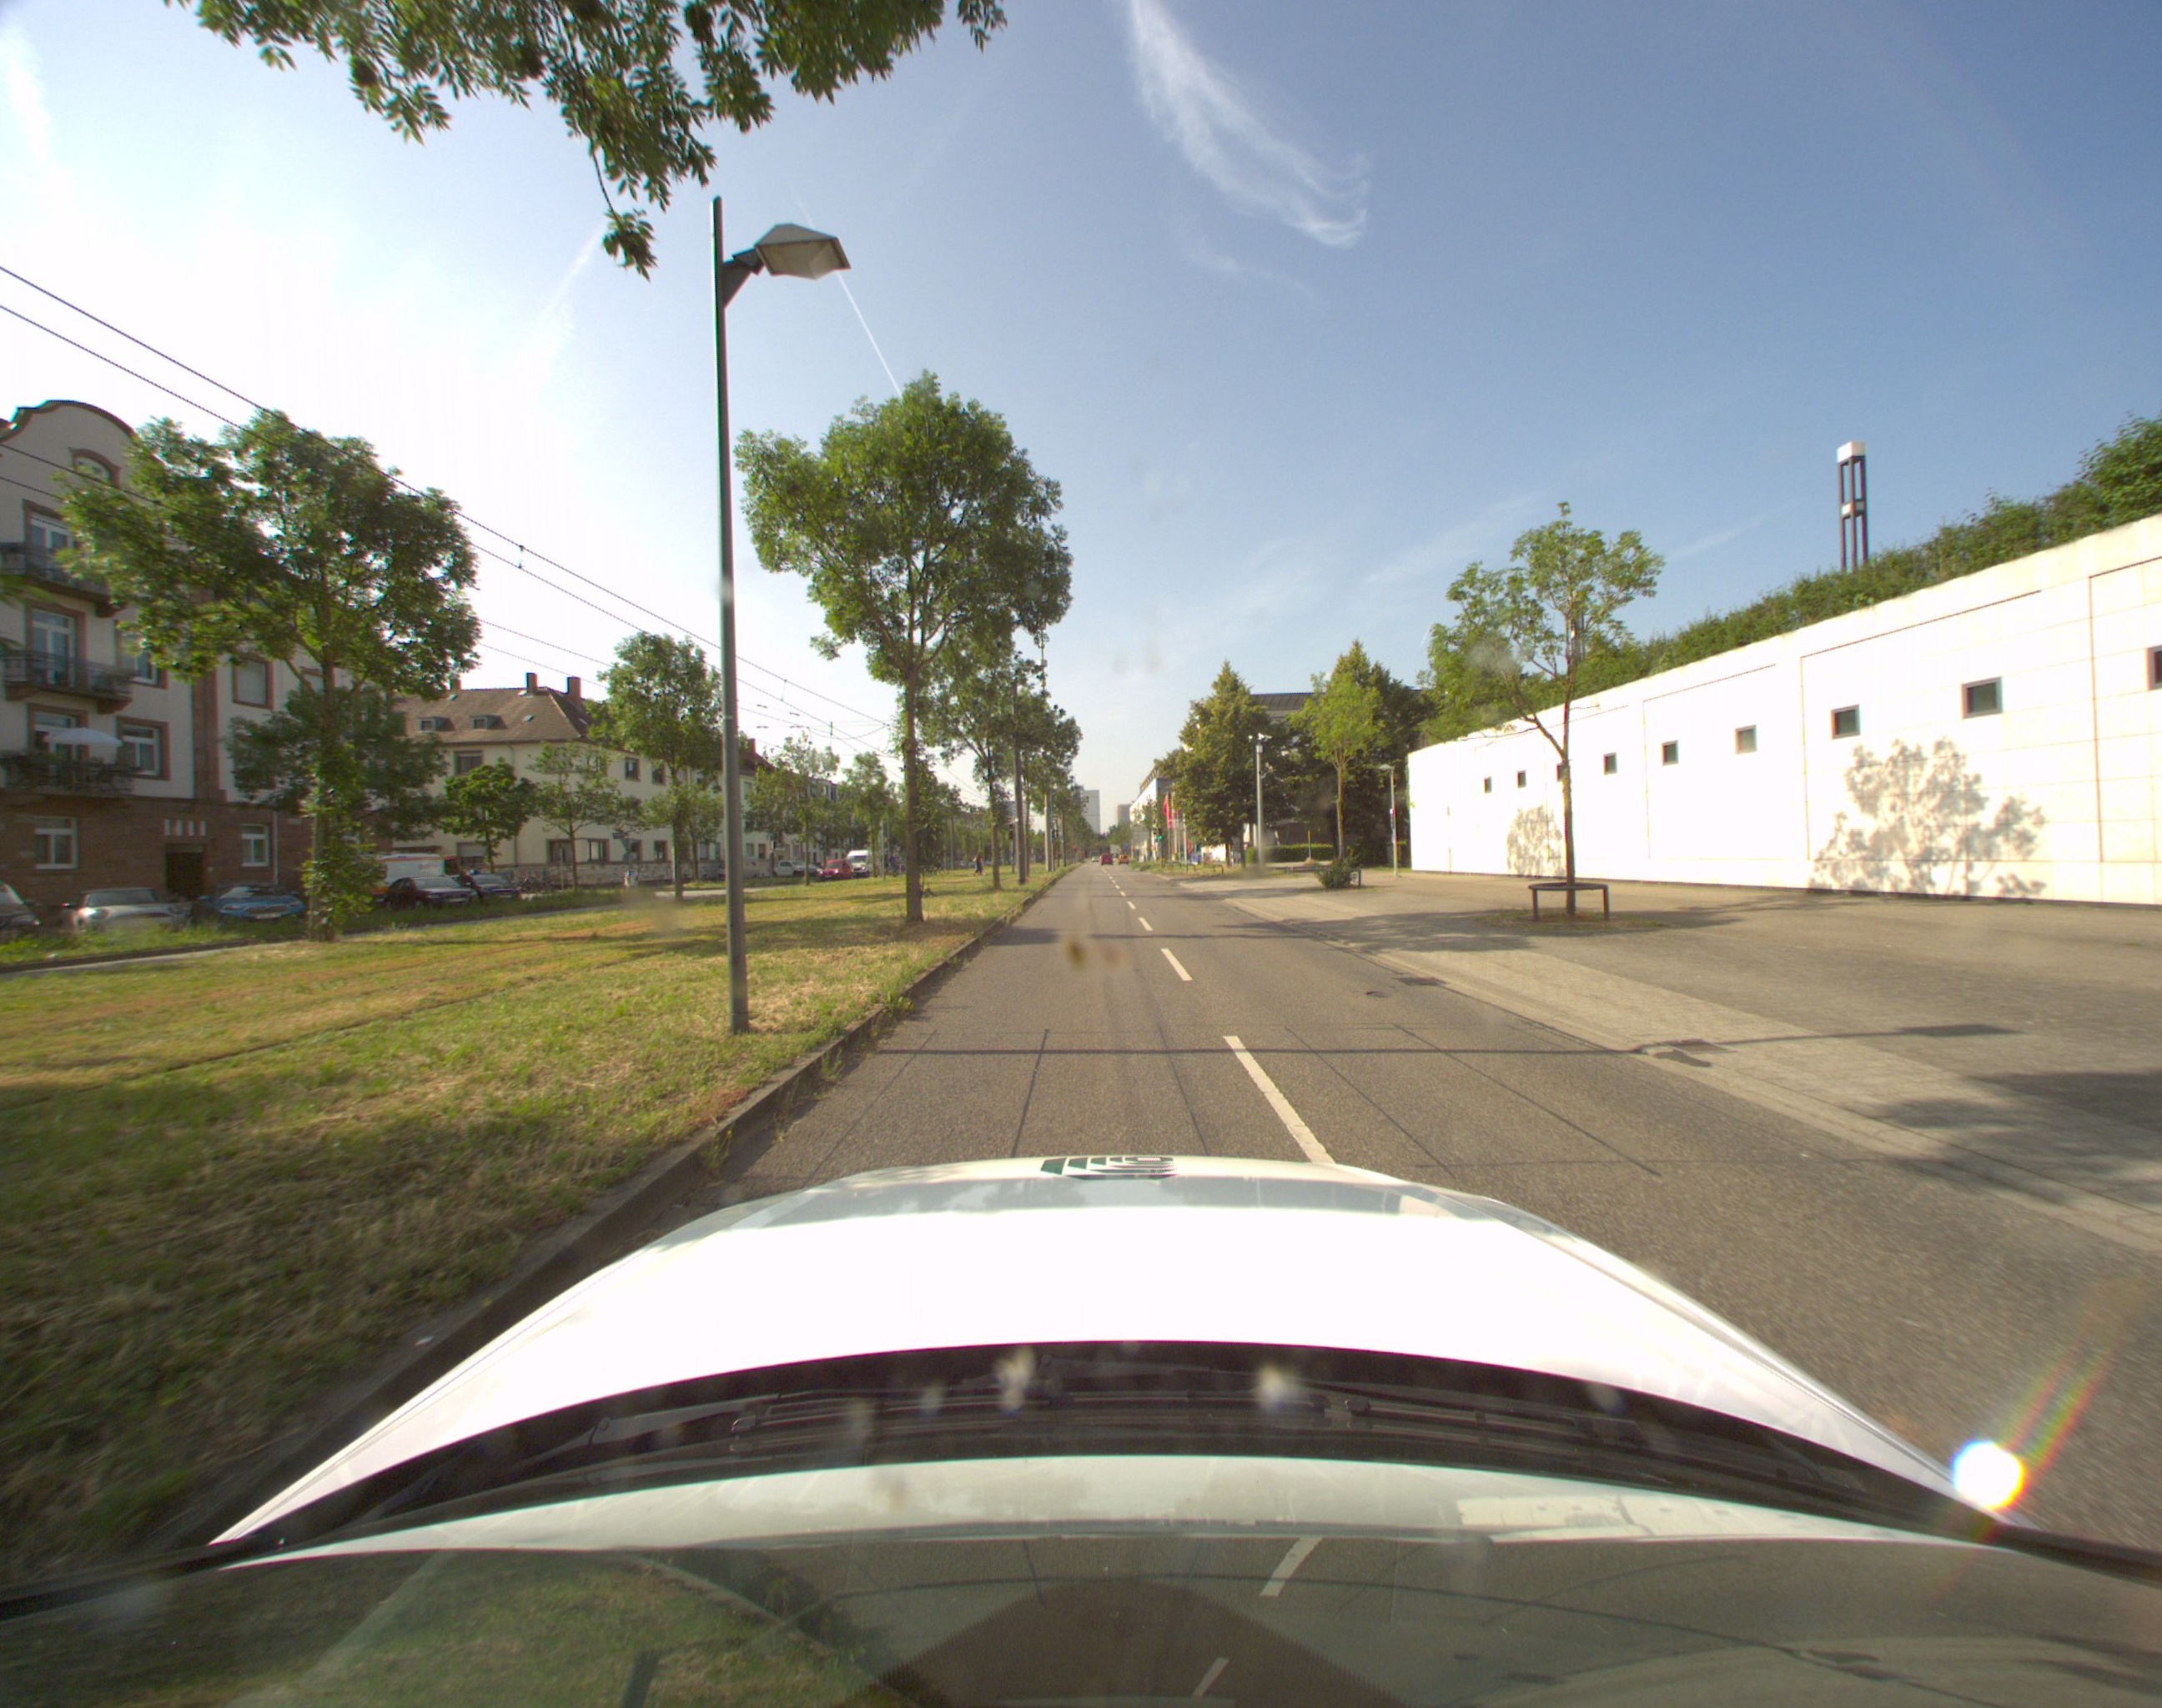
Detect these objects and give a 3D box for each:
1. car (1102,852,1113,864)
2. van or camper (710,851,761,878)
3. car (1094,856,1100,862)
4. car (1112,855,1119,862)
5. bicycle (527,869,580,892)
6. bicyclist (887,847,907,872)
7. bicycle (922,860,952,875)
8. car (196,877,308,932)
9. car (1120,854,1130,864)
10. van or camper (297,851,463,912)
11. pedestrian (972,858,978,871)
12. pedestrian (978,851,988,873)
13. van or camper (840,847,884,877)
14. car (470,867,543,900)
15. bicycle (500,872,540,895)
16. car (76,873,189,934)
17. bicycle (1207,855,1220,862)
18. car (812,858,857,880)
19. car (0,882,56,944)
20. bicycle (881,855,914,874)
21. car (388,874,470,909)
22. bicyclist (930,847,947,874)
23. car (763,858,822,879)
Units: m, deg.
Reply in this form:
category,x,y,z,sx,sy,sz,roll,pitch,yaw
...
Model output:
category,x,y,z,sx,sy,sz,roll,pitch,yaw
car,4.193,0.639,130.050,1.742,2.014,3.217,0,0,1
van or camper,-31.720,0.947,74.960,1.985,2.328,5.831,0,0,3
car,4.572,1.493,234.601,1.742,1.650,3.217,0,0,1
car,8.467,1.108,198.309,1.742,1.650,3.217,0,0,1
bicycle,-33.828,1.685,52.245,2.661,1.461,1.105,0,0,4
bicyclist,-12.833,0.389,56.763,1.154,1.762,0.680,1,-1,-30
bicycle,-10.352,0.961,58.633,2.072,1.042,0.664,0,-1,-18
car,-24.677,1.441,24.202,3.948,1.417,1.587,0,0,33
car,7.828,0.867,144.185,1.742,1.650,3.217,0,0,1
van or camper,-31.731,1.157,37.253,2.032,2.567,6.356,0,0,0
pedestrian,-7.321,0.736,56.515,0.340,0.875,0.461,0,-1,1
pedestrian,-6.791,0.550,56.545,0.622,1.572,0.711,0,-1,1
van or camper,-19.113,0.709,71.257,2.196,2.531,6.029,0,0,0
car,-24.616,1.228,34.883,3.124,1.326,1.506,0,0,34
bicycle,-34.600,1.791,50.183,3.019,1.360,0.986,0,-1,34
car,-25.387,1.258,21.767,3.948,1.417,1.587,0,0,35
bicycle,17.126,0.541,105.051,1.617,0.888,0.551,0,-1,-1
car,-19.388,1.141,64.312,1.956,1.694,4.302,0,0,4
car,-25.408,1.333,18.902,3.948,1.269,1.649,0,0,33
bicycle,-12.806,0.724,56.786,2.080,1.324,0.776,1,-1,-33
car,-24.773,1.394,30.916,3.124,1.161,1.506,0,0,33
bicyclist,-10.262,0.466,58.744,1.149,1.934,0.682,0,-1,-17
car,-24.830,1.243,69.965,5.258,1.738,2.013,0,0,34
